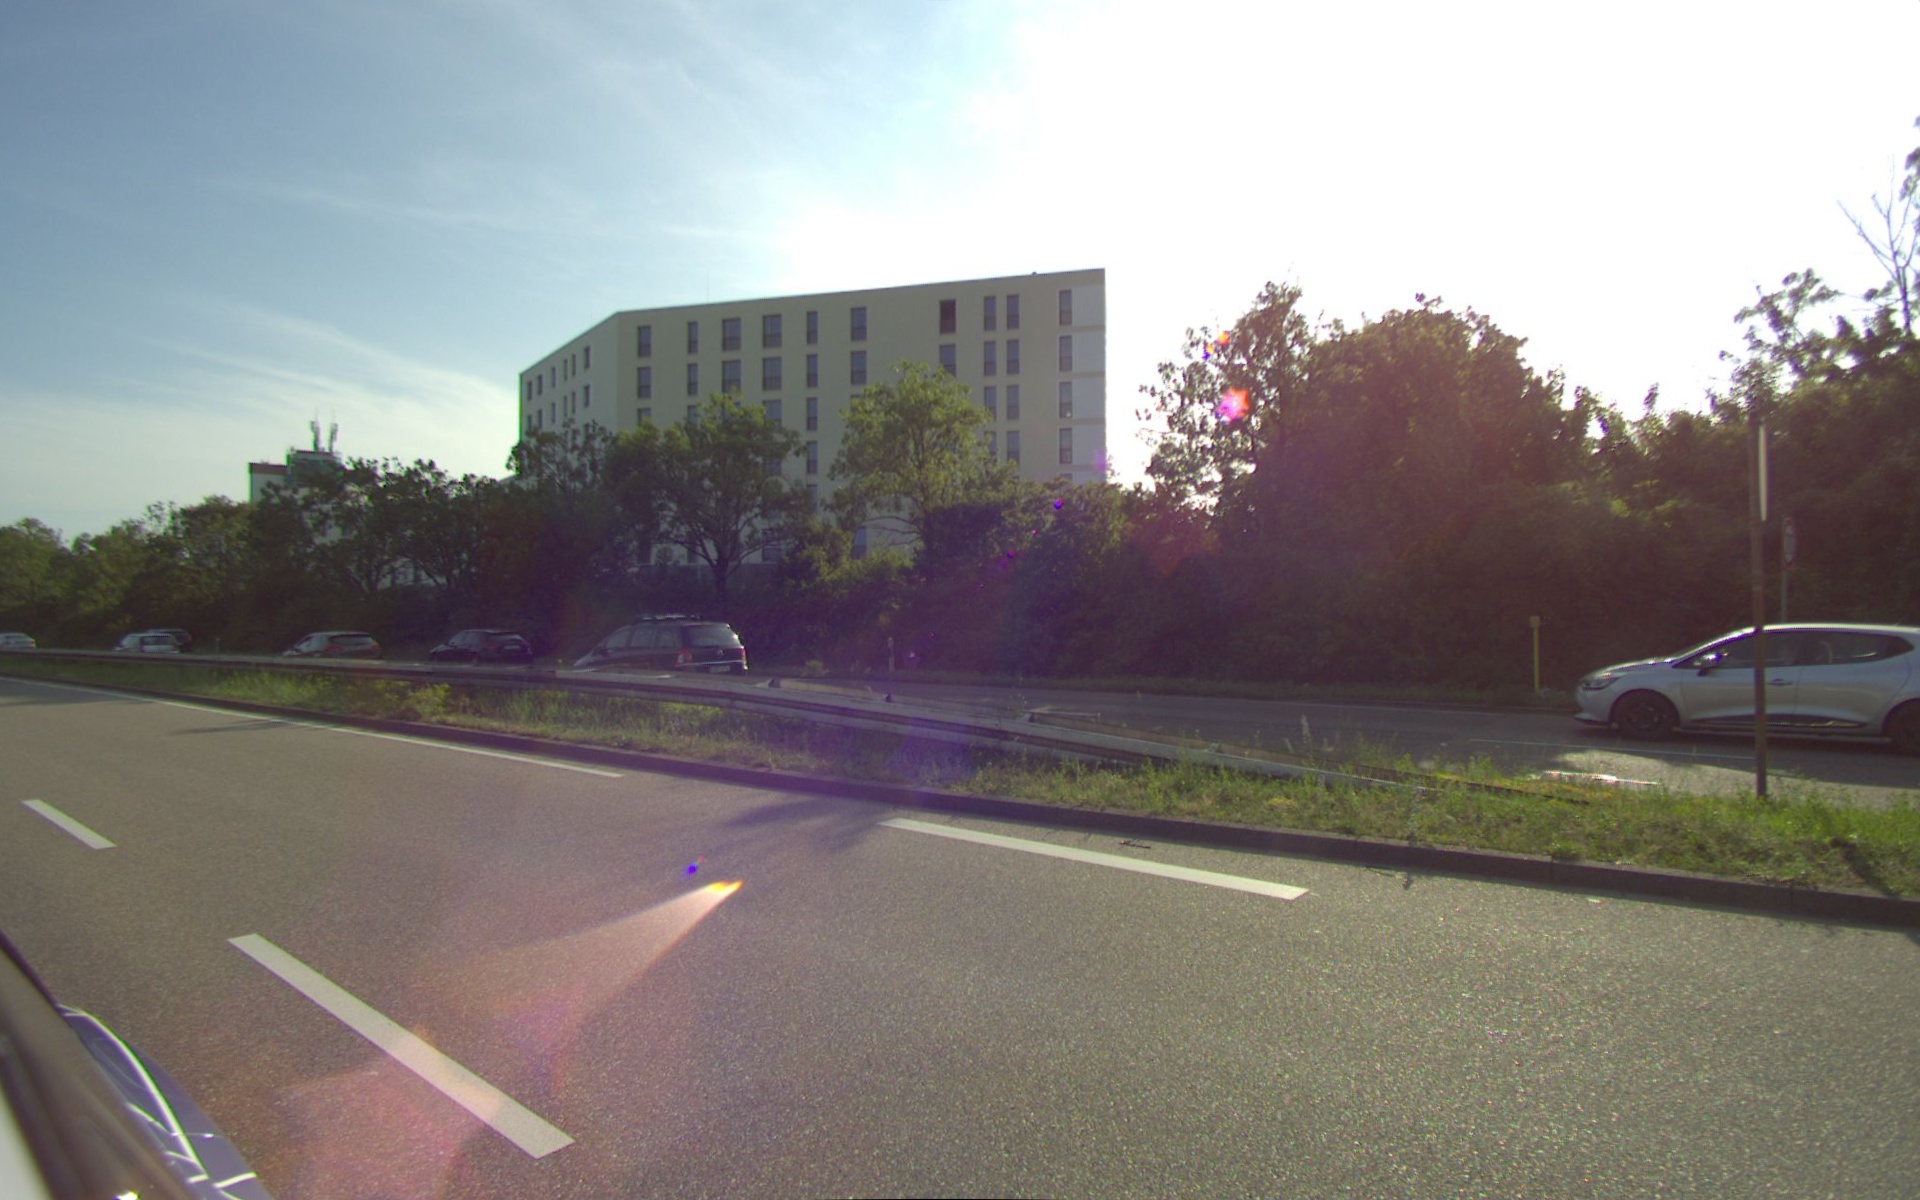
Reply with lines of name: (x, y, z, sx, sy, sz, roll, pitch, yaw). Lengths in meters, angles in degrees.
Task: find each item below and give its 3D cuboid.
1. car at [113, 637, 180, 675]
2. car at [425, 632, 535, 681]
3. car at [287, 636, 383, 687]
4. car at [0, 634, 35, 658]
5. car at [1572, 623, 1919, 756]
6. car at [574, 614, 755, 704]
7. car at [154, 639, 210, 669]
car: (-34.330, 2.331, 42.695, 3.233, 1.453, 1.587, -2, -1, 40)
car: (-15.725, 1.816, 33.076, 3.933, 1.452, 1.652, -2, -1, 38)
car: (-19.469, 1.884, 31.479, 3.233, 1.452, 1.587, -2, -1, 40)
car: (-63.187, 3.060, 67.420, 3.228, 1.452, 1.589, -2, -1, 35)
car: (9.847, 0.992, 12.148, 4.061, 1.387, 1.623, -2, -1, 41)
car: (-5.984, 1.142, 20.385, 3.517, 1.623, 1.715, -2, -1, 37)
car: (-40.862, 2.810, 53.111, 3.232, 1.453, 1.587, -2, -1, 38)
